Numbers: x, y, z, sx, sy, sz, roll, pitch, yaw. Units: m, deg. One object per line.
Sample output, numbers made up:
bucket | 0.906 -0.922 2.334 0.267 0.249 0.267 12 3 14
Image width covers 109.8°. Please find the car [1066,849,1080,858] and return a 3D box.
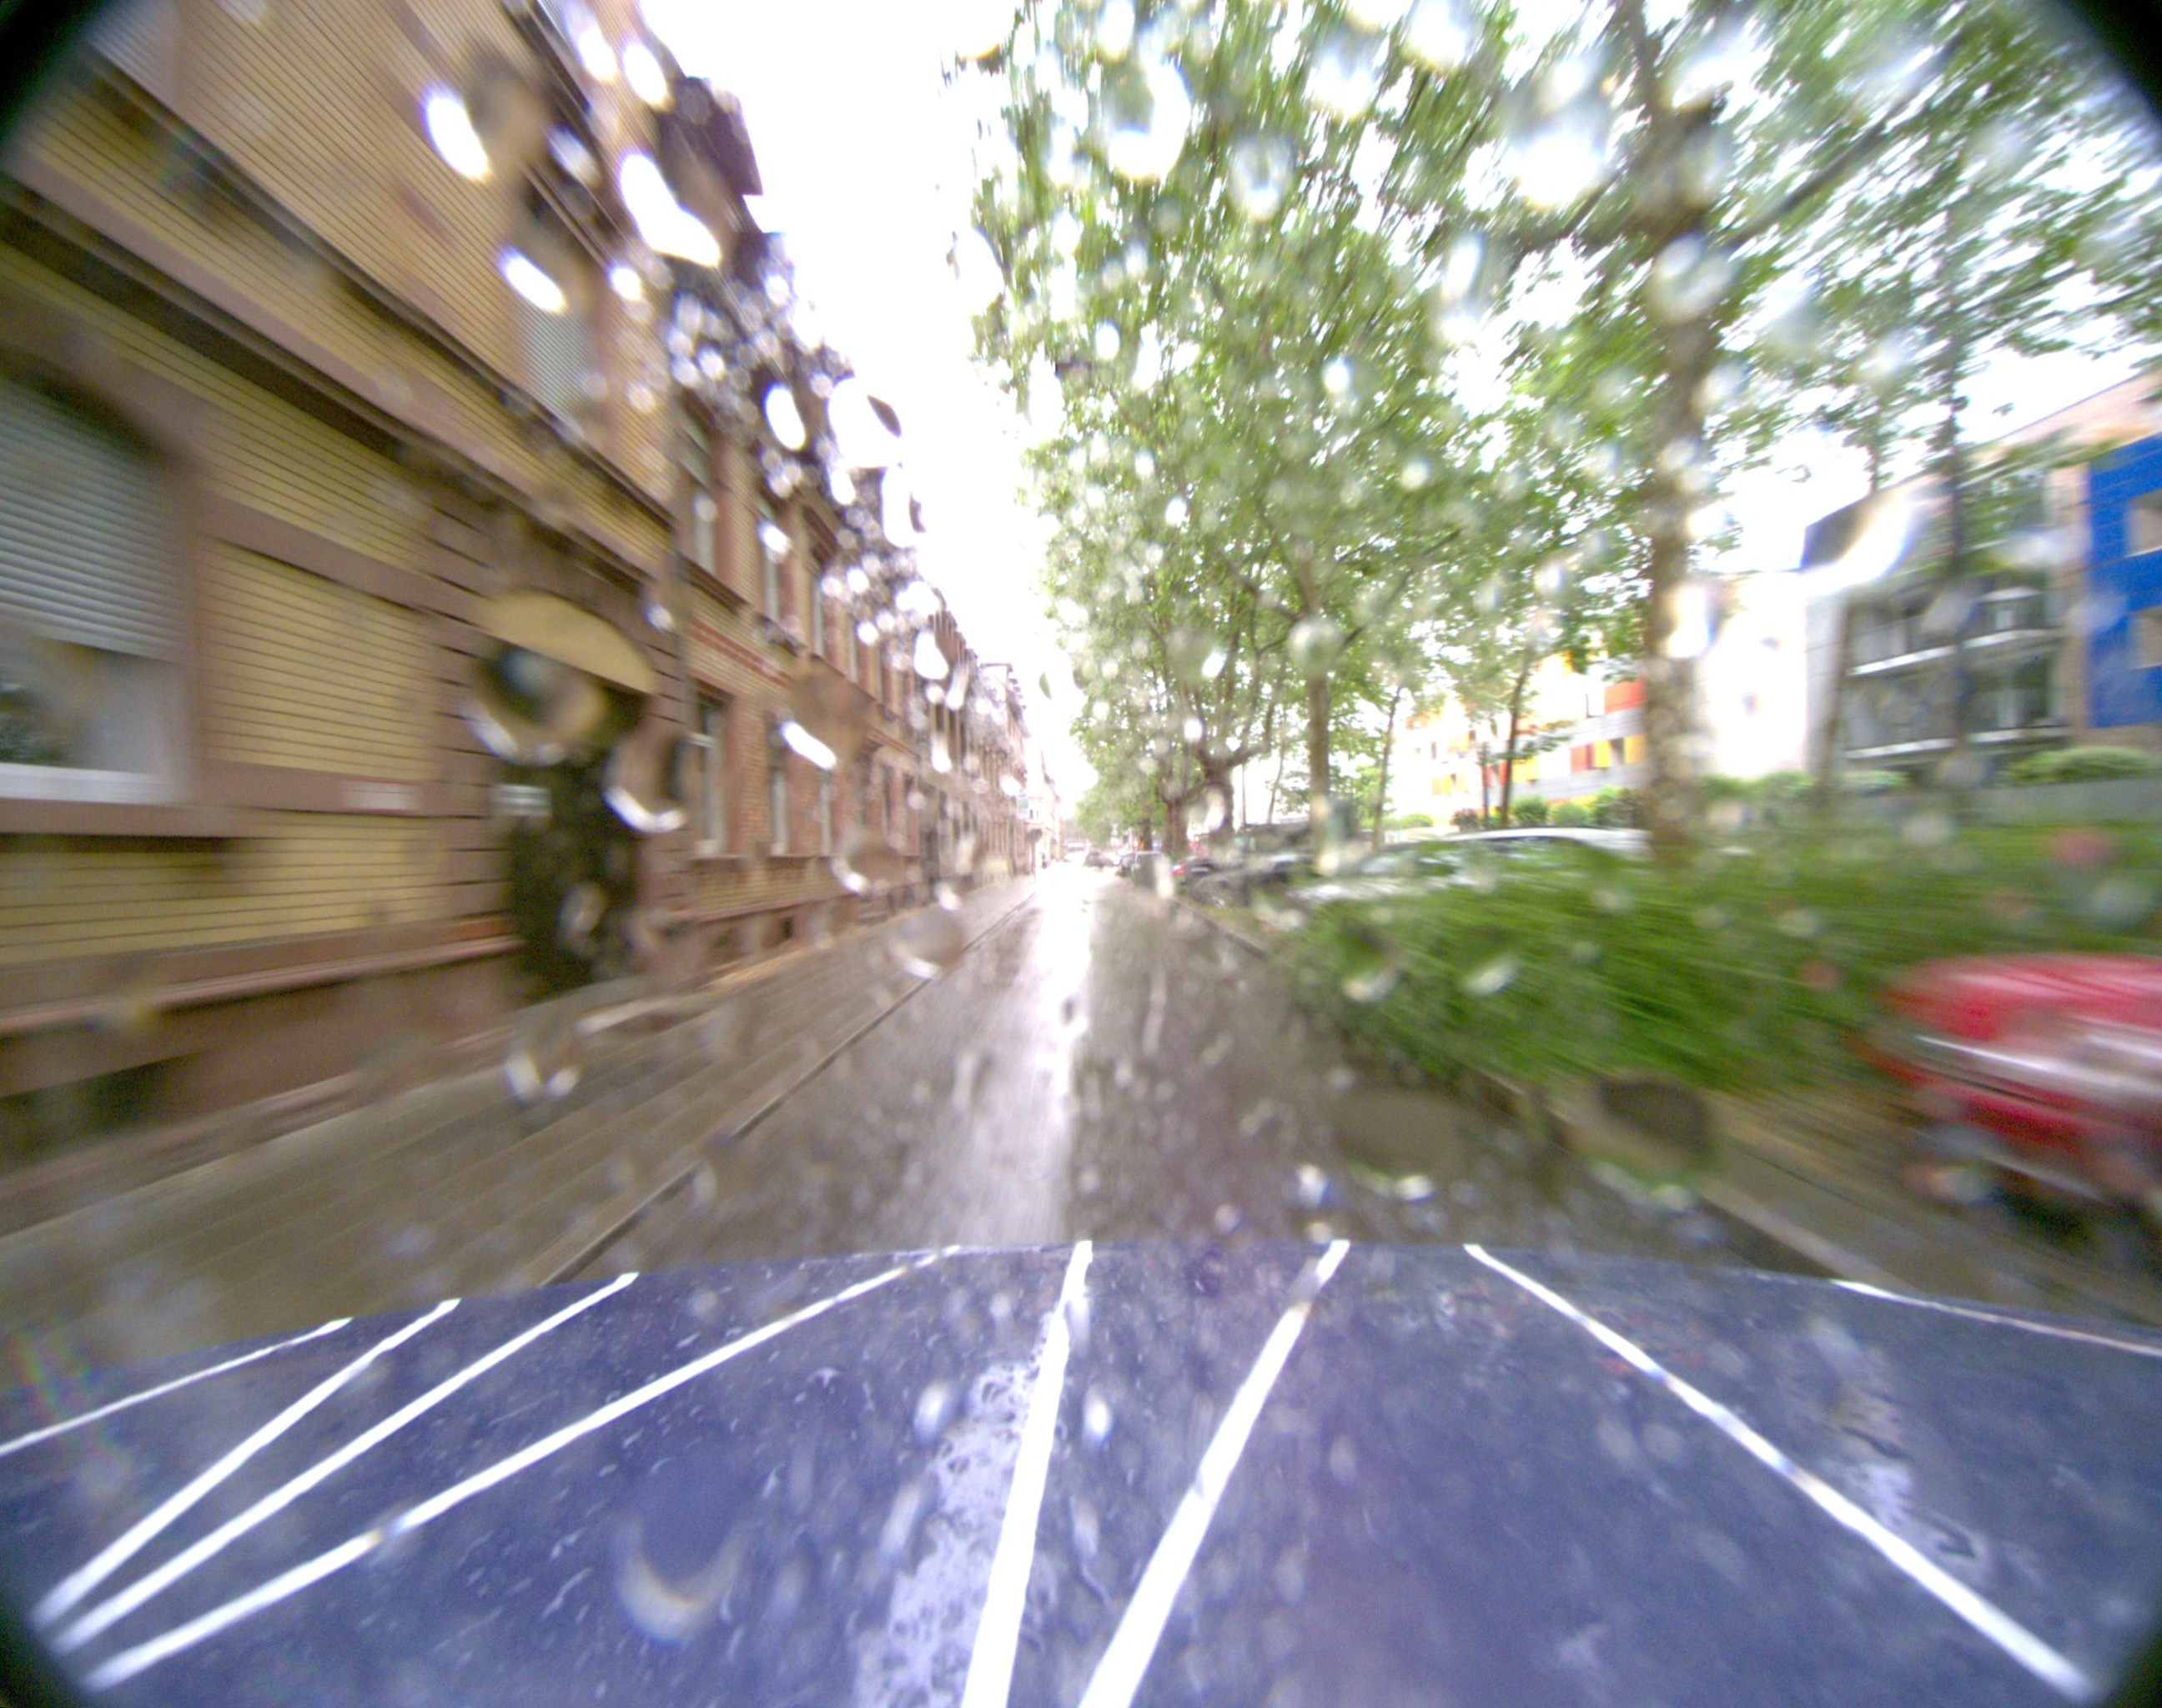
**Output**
car | -1.339 -0.036 128.833 1.976 1.359 4.162 3 0 3

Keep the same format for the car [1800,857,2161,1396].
car | 4.771 0.732 2.147 3.644 1.471 1.747 -3 0 31

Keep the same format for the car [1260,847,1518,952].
car | 4.698 0.662 11.936 3.504 1.459 1.644 -1 0 19

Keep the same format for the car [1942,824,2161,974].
car | 12.069 0.436 7.664 1.909 1.525 4.215 -2 0 -1

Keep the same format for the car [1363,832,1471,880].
car | 11.937 0.079 27.331 1.909 1.525 4.215 -2 0 -1

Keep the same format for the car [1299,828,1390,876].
car | 12.259 -0.082 35.837 2.059 1.985 5.433 -4 0 -3

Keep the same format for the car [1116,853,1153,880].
car | 3.237 0.739 46.747 1.901 1.476 4.621 -3 0 0

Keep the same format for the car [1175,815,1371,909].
car | 5.082 0.223 20.208 4.648 2.270 2.015 -1 0 30

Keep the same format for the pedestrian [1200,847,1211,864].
pedestrian | 13.599 0.149 82.941 0.938 1.789 1.206 -2 1 0

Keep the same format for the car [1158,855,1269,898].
car | 4.749 0.796 27.224 3.494 1.428 1.785 -1 0 28

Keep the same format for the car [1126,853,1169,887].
car | 3.238 0.737 37.589 1.733 1.505 4.207 -3 0 0

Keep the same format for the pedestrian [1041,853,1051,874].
pedestrian | -3.122 0.851 67.767 0.787 1.902 0.929 2 1 0

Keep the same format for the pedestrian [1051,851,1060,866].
pedestrian | -2.787 0.500 83.353 0.849 1.564 0.576 3 1 1

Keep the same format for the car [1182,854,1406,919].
car | 4.858 0.707 17.444 4.648 1.318 1.850 -1 0 28

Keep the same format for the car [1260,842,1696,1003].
car | 4.363 0.726 8.894 4.056 1.528 1.838 -3 0 26

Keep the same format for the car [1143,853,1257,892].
car | 4.660 0.733 29.683 4.036 1.426 1.784 -1 0 25

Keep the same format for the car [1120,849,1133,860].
car | 7.963 0.155 133.516 1.937 1.839 4.066 -2 0 0
